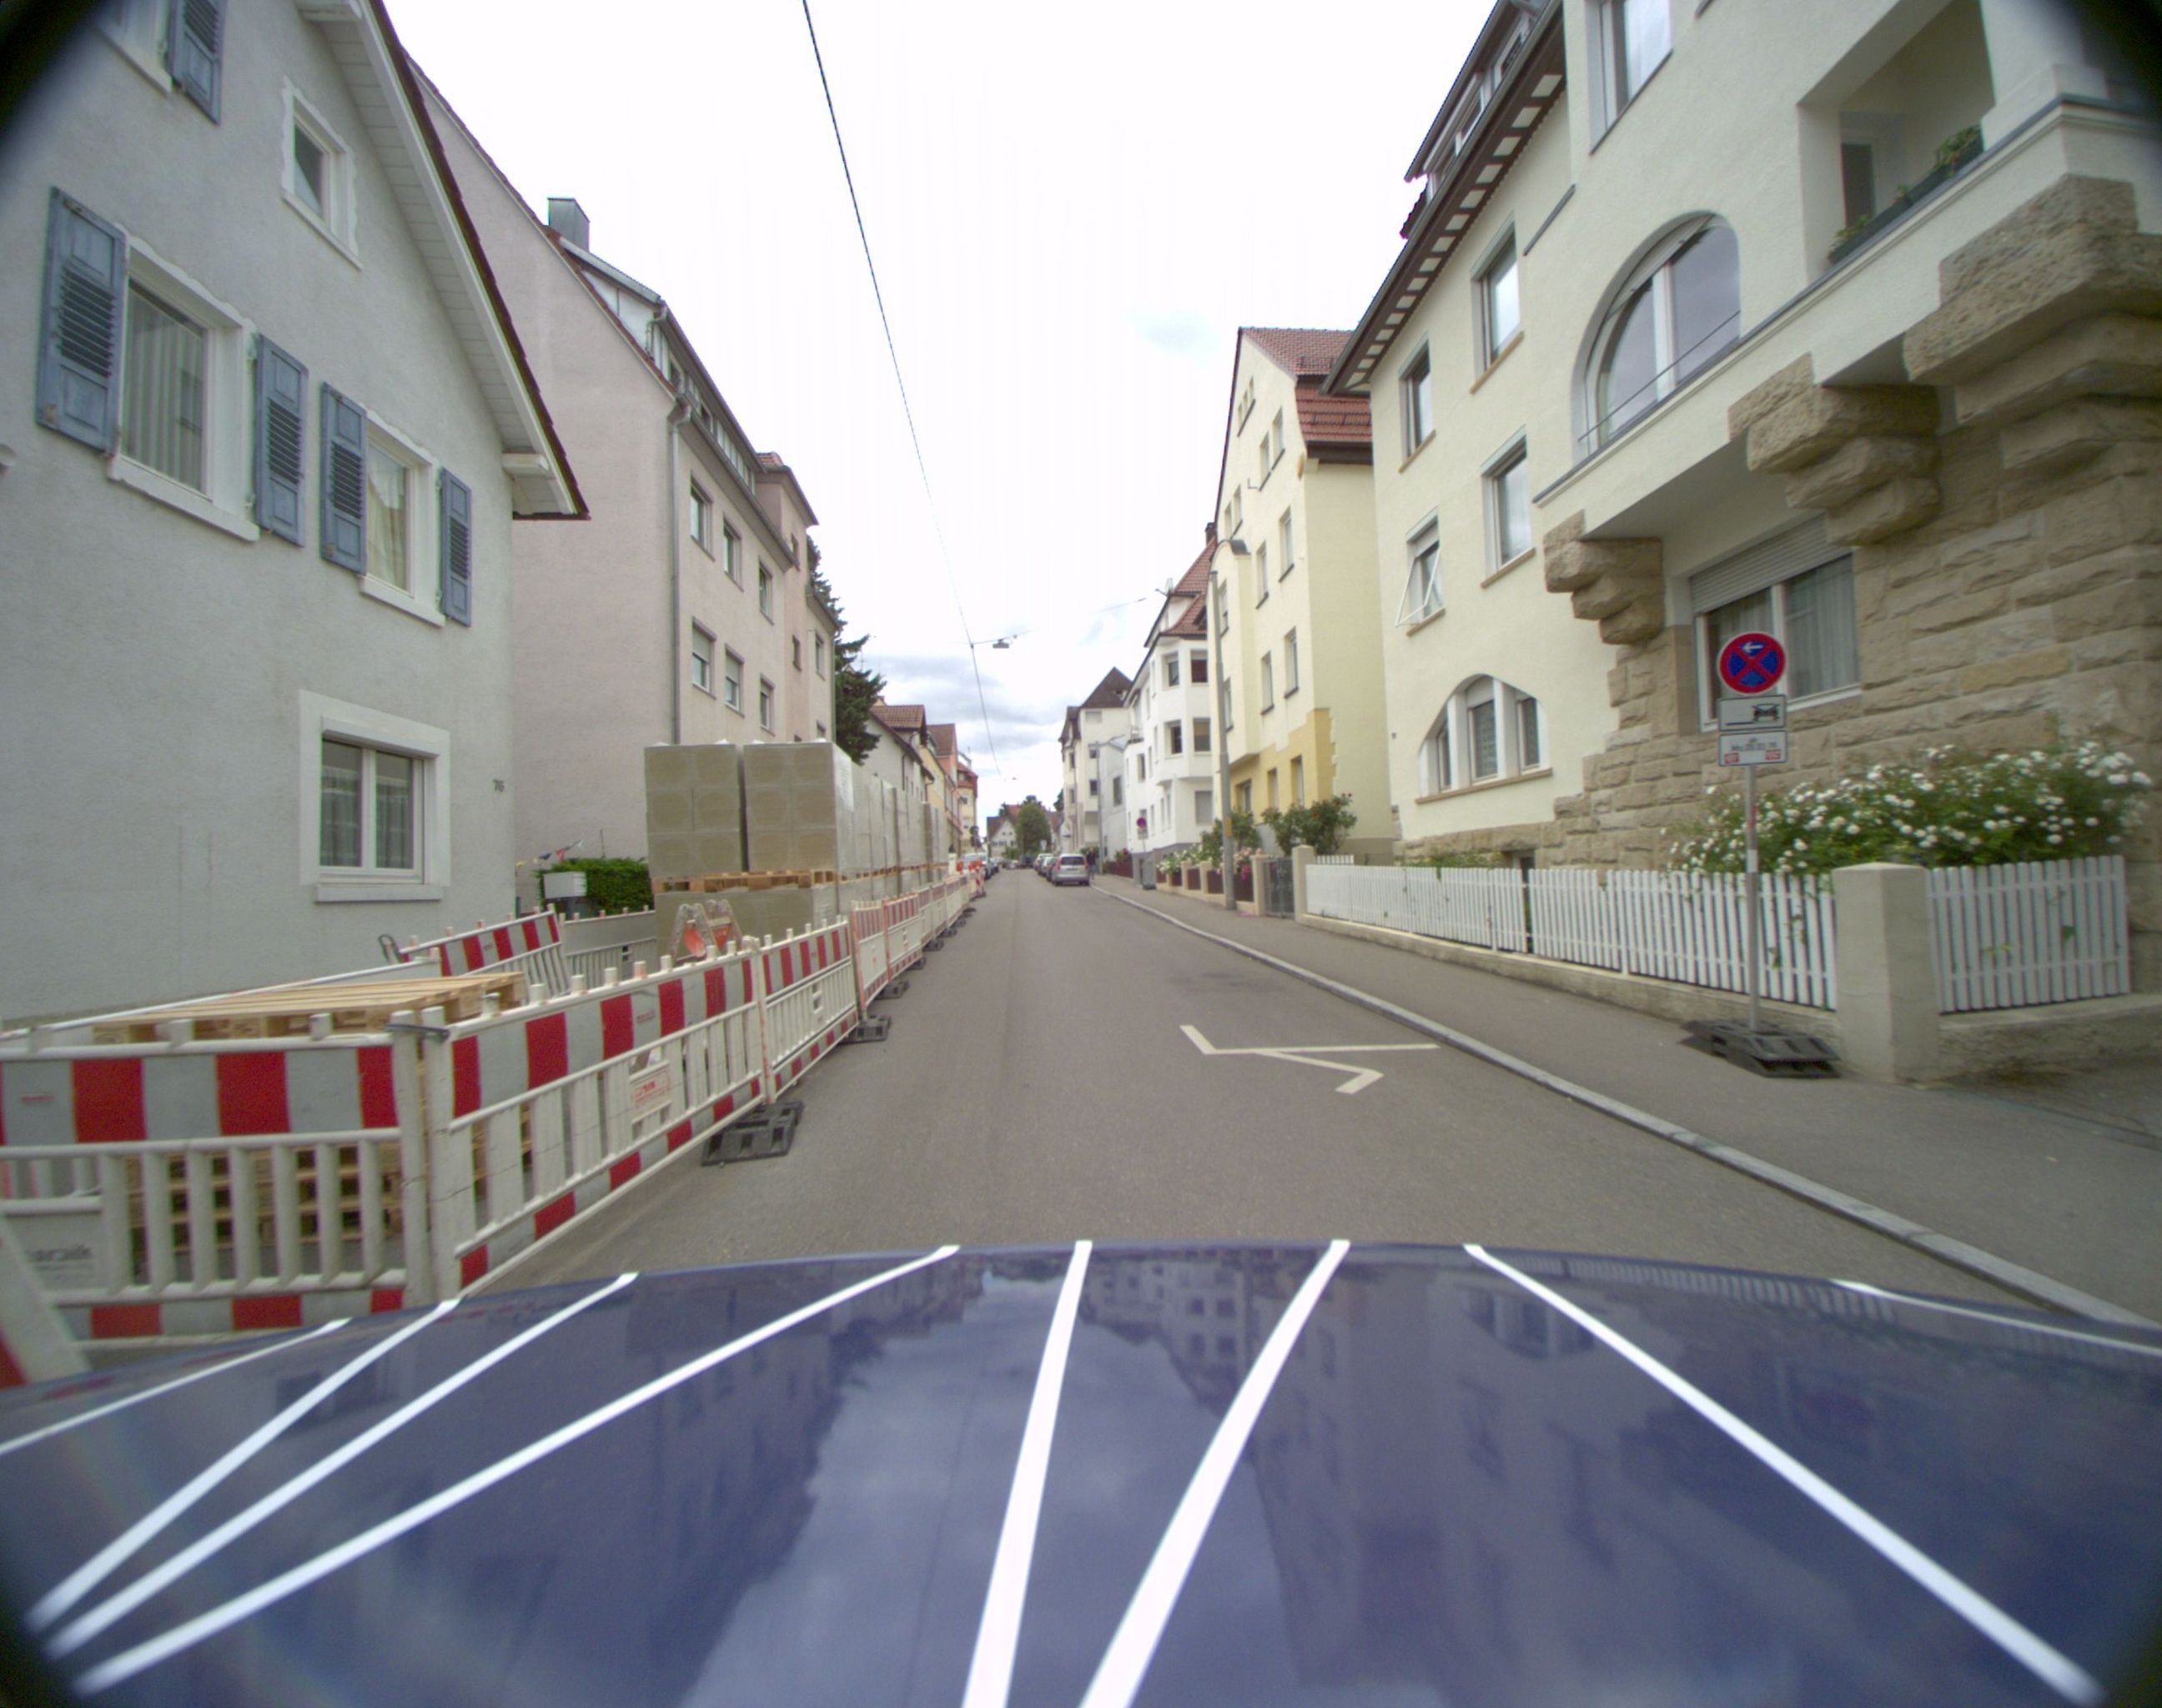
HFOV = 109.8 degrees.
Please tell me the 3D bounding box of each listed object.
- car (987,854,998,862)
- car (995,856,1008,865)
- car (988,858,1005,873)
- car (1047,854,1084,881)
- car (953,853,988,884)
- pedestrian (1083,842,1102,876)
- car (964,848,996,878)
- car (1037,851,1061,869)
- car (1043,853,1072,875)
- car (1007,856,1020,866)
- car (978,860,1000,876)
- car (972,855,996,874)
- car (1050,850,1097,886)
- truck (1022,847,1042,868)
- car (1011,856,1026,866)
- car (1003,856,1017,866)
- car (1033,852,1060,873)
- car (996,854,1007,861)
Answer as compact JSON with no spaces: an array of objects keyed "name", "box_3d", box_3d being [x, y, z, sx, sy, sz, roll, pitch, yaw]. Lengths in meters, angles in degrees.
[{"name":"car","box_3d":[-19.128,0.872,164.137,1.857,1.441,3.941,0,1,-12]},{"name":"car","box_3d":[-14.686,1.253,140.125,1.857,1.641,3.942,0,0,-12]},{"name":"car","box_3d":[-8.989,1.193,81.266,1.672,1.470,3.624,-2,0,-6]},{"name":"car","box_3d":[-0.947,0.747,44.379,1.850,1.449,4.502,-1,0,-5]},{"name":"car","box_3d":[-6.273,0.822,43.483,1.718,1.587,4.496,-3,0,-6]},{"name":"pedestrian","box_3d":[0.676,0.299,42.996,0.817,1.873,0.848,-1,0,18]},{"name":"car","box_3d":[-7.317,0.649,55.422,1.911,2.018,5.730,-3,0,-5]},{"name":"car","box_3d":[-3.024,0.555,71.179,1.850,1.507,4.238,-2,0,-7]},{"name":"car","box_3d":[-1.747,0.675,54.998,1.850,1.405,5.059,-2,1,-5]},{"name":"car","box_3d":[-10.884,1.113,122.186,1.856,1.640,3.943,0,-1,-10]},{"name":"car","box_3d":[-8.665,1.316,72.063,1.858,1.395,4.290,-3,0,-5]},{"name":"car","box_3d":[-8.402,0.892,66.046,1.858,1.395,4.572,-5,1,-6]},{"name":"car","box_3d":[-0.434,0.679,38.216,1.850,1.621,4.284,-2,0,-7]},{"name":"truck","box_3d":[-6.390,0.459,99.096,2.317,2.536,6.287,0,-2,-6]},{"name":"car","box_3d":[-9.107,1.055,110.742,1.856,1.454,3.943,0,-1,-10]},{"name":"car","box_3d":[-12.011,1.169,128.766,1.857,1.641,3.942,0,0,-12]},{"name":"car","box_3d":[-2.790,0.656,60.810,1.901,1.518,4.468,-2,1,-5]},{"name":"car","box_3d":[-16.560,0.780,158.448,1.857,1.441,3.942,0,0,-12]}]
